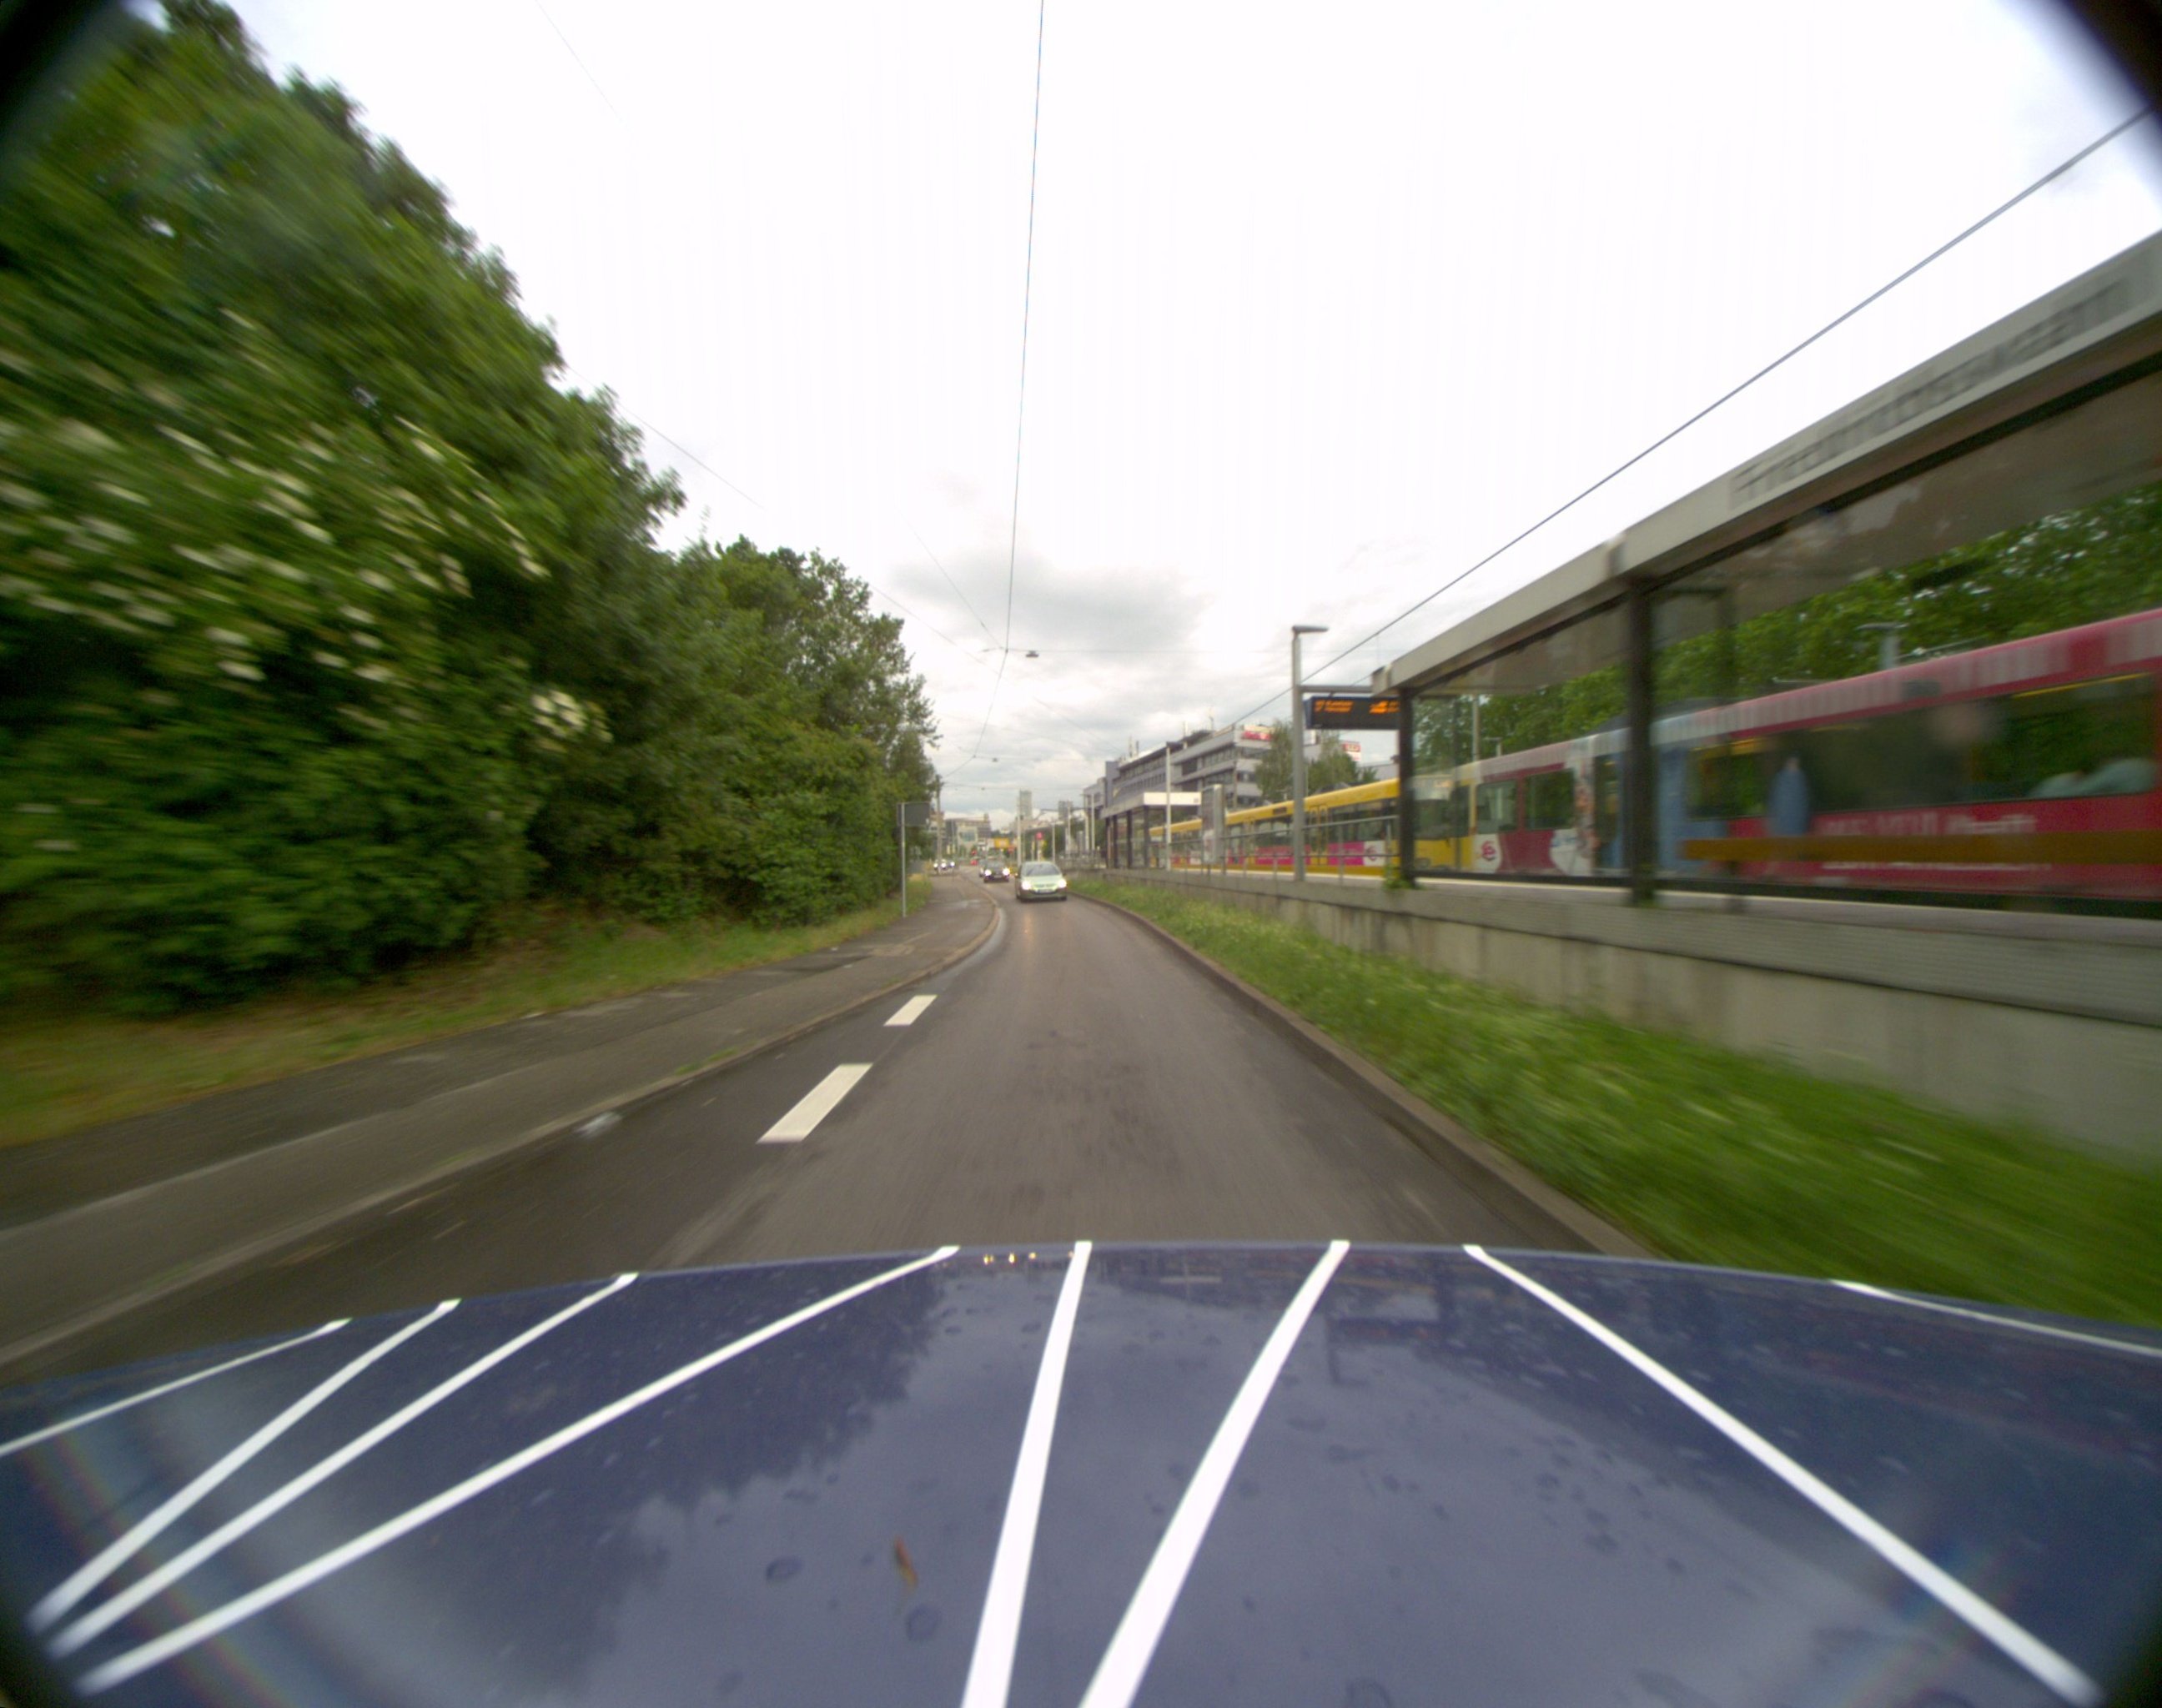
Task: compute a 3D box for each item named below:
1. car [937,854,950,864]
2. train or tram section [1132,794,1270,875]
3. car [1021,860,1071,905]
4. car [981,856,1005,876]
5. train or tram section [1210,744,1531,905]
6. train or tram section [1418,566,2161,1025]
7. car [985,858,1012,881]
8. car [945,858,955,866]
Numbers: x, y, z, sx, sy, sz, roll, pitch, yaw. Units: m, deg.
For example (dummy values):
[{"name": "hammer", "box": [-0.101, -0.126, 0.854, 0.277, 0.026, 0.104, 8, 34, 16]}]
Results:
[{"name": "car", "box": [-22.479, 0.836, 124.594, 1.995, 1.531, 4.106, -2, 0, -10]}, {"name": "train or tram section", "box": [6.774, -1.117, 48.114, 2.877, 3.950, 19.313, -4, 1, -8]}, {"name": "car", "box": [-1.304, 1.048, 29.499, 1.780, 1.493, 3.998, 0, 1, -1]}, {"name": "car", "box": [-8.108, 1.076, 69.993, 1.999, 1.563, 3.997, -4, 1, -6]}, {"name": "train or tram section", "box": [9.032, -0.884, 28.947, 2.876, 3.931, 19.317, -4, 1, -6]}, {"name": "train or tram section", "box": [10.573, -0.621, 9.682, 2.876, 3.948, 19.321, -4, 1, -3]}, {"name": "car", "box": [-5.945, 1.078, 54.537, 1.781, 1.493, 3.997, -2, 0, -7]}, {"name": "car", "box": [-24.877, 1.570, 144.369, 1.703, 1.429, 3.962, -2, 0, -10]}]
